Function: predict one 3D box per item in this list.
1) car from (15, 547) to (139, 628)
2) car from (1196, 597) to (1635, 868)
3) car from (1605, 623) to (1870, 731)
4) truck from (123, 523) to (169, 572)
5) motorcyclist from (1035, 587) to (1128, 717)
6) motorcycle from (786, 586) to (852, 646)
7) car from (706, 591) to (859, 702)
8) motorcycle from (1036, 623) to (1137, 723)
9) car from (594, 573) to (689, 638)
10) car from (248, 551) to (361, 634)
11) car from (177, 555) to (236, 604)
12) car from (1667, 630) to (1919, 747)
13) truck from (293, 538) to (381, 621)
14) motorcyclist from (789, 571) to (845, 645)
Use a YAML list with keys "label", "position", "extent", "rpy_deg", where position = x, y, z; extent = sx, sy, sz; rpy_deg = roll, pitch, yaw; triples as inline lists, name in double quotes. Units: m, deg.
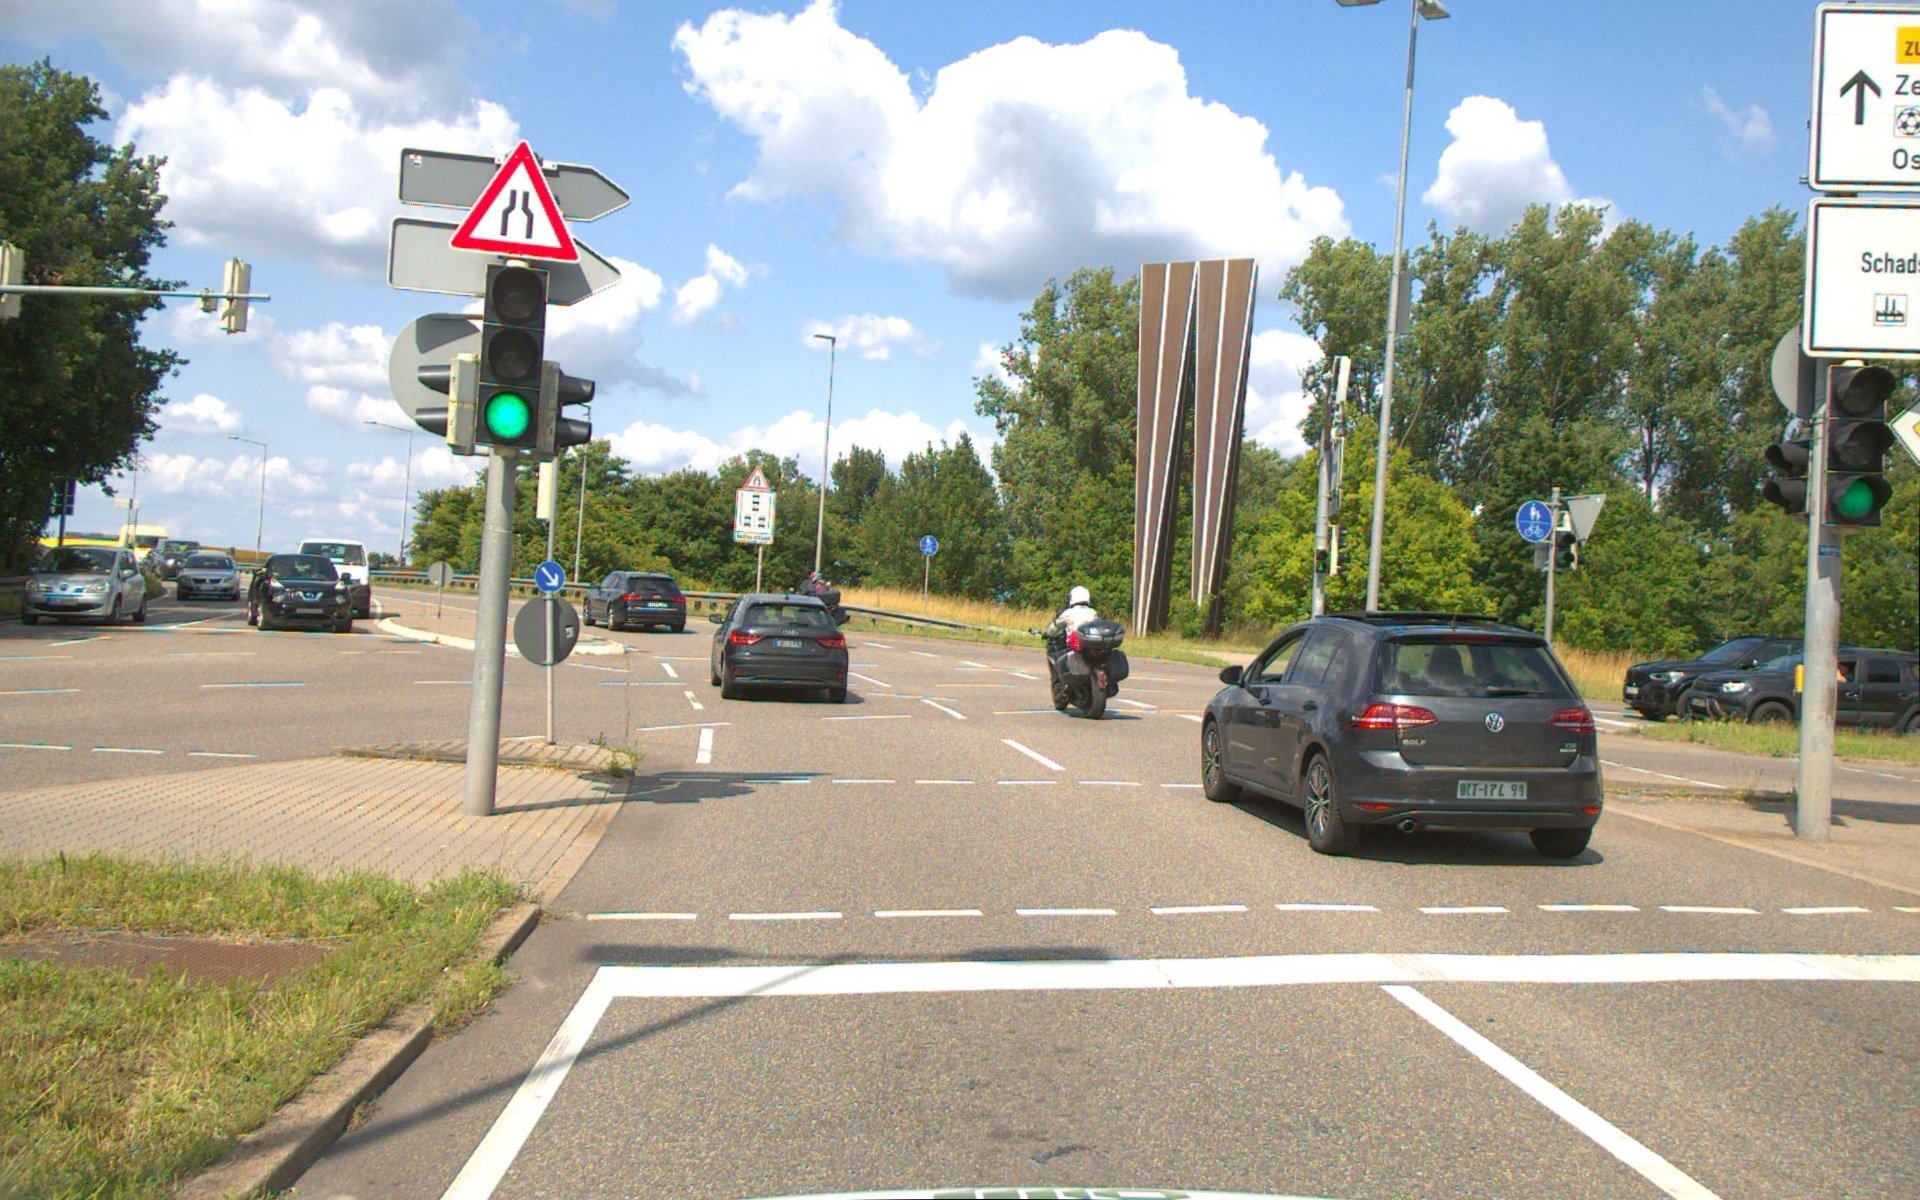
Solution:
- label: "car"
  position: [-17.829, -0.264, 33.547]
  extent: [1.708, 1.547, 4.043]
  rpy_deg: [0, 1, -21]
- label: "car"
  position: [2.902, 0.768, 11.420]
  extent: [1.610, 1.504, 3.868]
  rpy_deg: [2, 0, -5]
- label: "car"
  position: [14.804, 1.444, 31.643]
  extent: [4.117, 1.674, 1.837]
  rpy_deg: [4, 0, -1]
- label: "truck"
  position: [-45.573, -2.942, 92.503]
  extent: [1.972, 2.666, 6.045]
  rpy_deg: [1, 2, -29]
- label: "motorcyclist"
  position: [1.598, 0.673, 21.921]
  extent: [0.948, 1.648, 1.123]
  rpy_deg: [3, -1, -8]
- label: "motorcycle"
  position: [-3.228, 0.350, 37.629]
  extent: [0.874, 1.269, 2.386]
  rpy_deg: [3, 0, -19]
- label: "car"
  position: [-2.592, 0.613, 23.442]
  extent: [1.653, 1.412, 3.726]
  rpy_deg: [1, 0, -14]
- label: "motorcycle"
  position: [1.620, 0.925, 21.660]
  extent: [0.774, 1.151, 2.395]
  rpy_deg: [3, 0, -8]
- label: "car"
  position: [-8.084, 0.122, 41.790]
  extent: [1.619, 1.504, 3.847]
  rpy_deg: [2, 0, -22]
- label: "car"
  position: [-13.814, -0.181, 34.754]
  extent: [1.679, 1.584, 3.785]
  rpy_deg: [2, 1, -29]
- label: "car"
  position: [-24.286, -0.672, 53.294]
  extent: [1.661, 1.504, 4.676]
  rpy_deg: [1, 1, -25]
- label: "car"
  position: [14.392, 1.479, 27.765]
  extent: [4.194, 1.645, 1.844]
  rpy_deg: [4, -1, -1]
- label: "truck"
  position: [-16.129, -0.556, 42.795]
  extent: [1.933, 1.946, 5.336]
  rpy_deg: [2, 1, -21]
- label: "motorcyclist"
  position: [-3.276, 0.179, 37.731]
  extent: [0.952, 1.624, 1.118]
  rpy_deg: [3, -1, -20]
